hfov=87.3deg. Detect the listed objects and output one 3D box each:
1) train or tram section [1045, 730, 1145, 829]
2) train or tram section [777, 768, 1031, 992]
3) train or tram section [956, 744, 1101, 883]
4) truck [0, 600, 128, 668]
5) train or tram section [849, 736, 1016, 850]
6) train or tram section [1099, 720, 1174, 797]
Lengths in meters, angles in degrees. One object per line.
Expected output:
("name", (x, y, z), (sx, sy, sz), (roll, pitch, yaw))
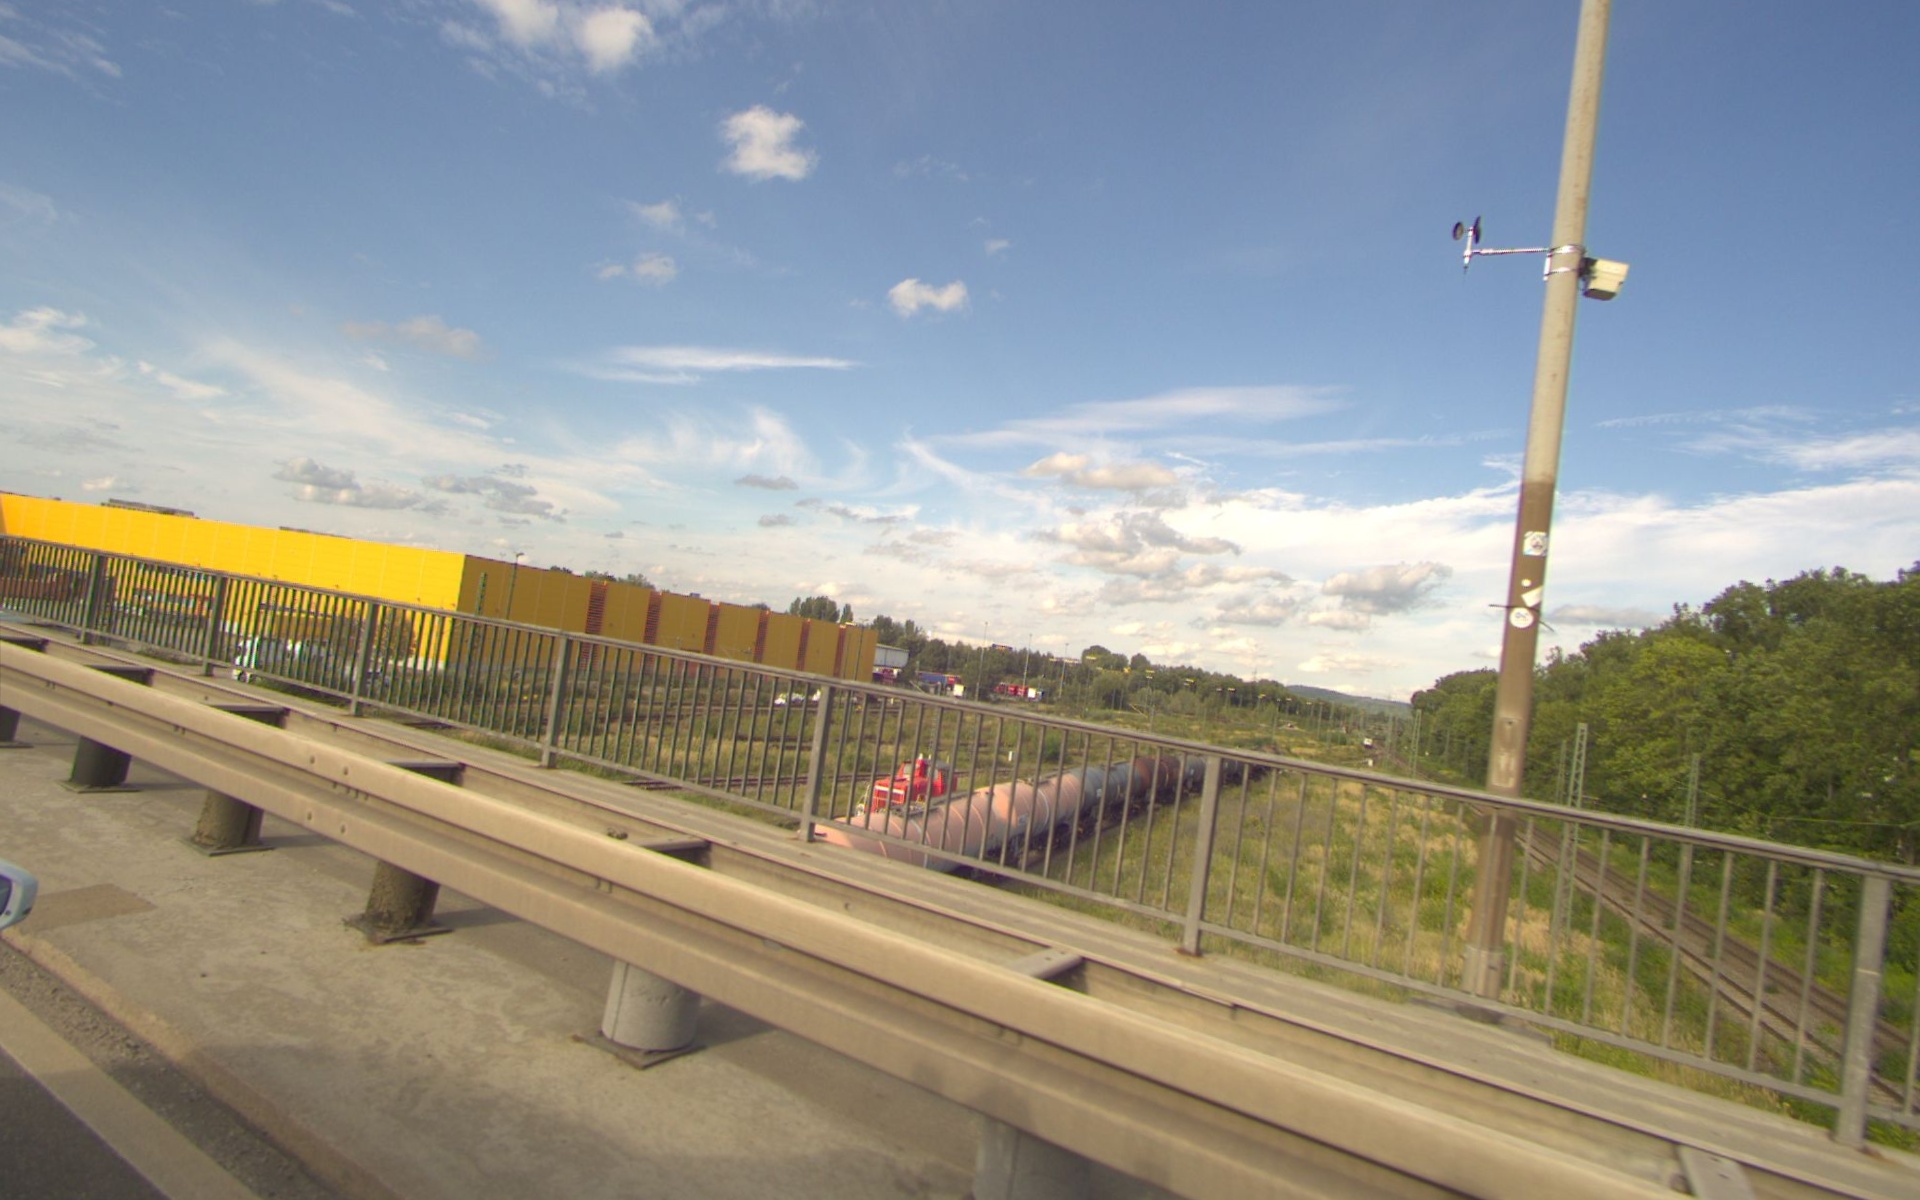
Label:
("train or tram section", (9.815, 12.136, 70.458), (3.039, 4.768, 16.757), (7, -1, 20))
("train or tram section", (-1.237, 9.881, 38.838), (3.039, 4.768, 16.757), (7, -1, 20))
("train or tram section", (4.260, 11.026, 54.661), (3.039, 4.768, 16.757), (7, -1, 19))
("truck", (-63.694, 2.385, 69.780), (2.618, 4.139, 8.620), (8, -1, 22))
("train or tram section", (-0.994, 10.778, 58.751), (3.039, 4.193, 17.308), (7, -2, 21))
("train or tram section", (15.412, 13.249, 86.175), (3.039, 4.768, 16.757), (7, -1, 20))
